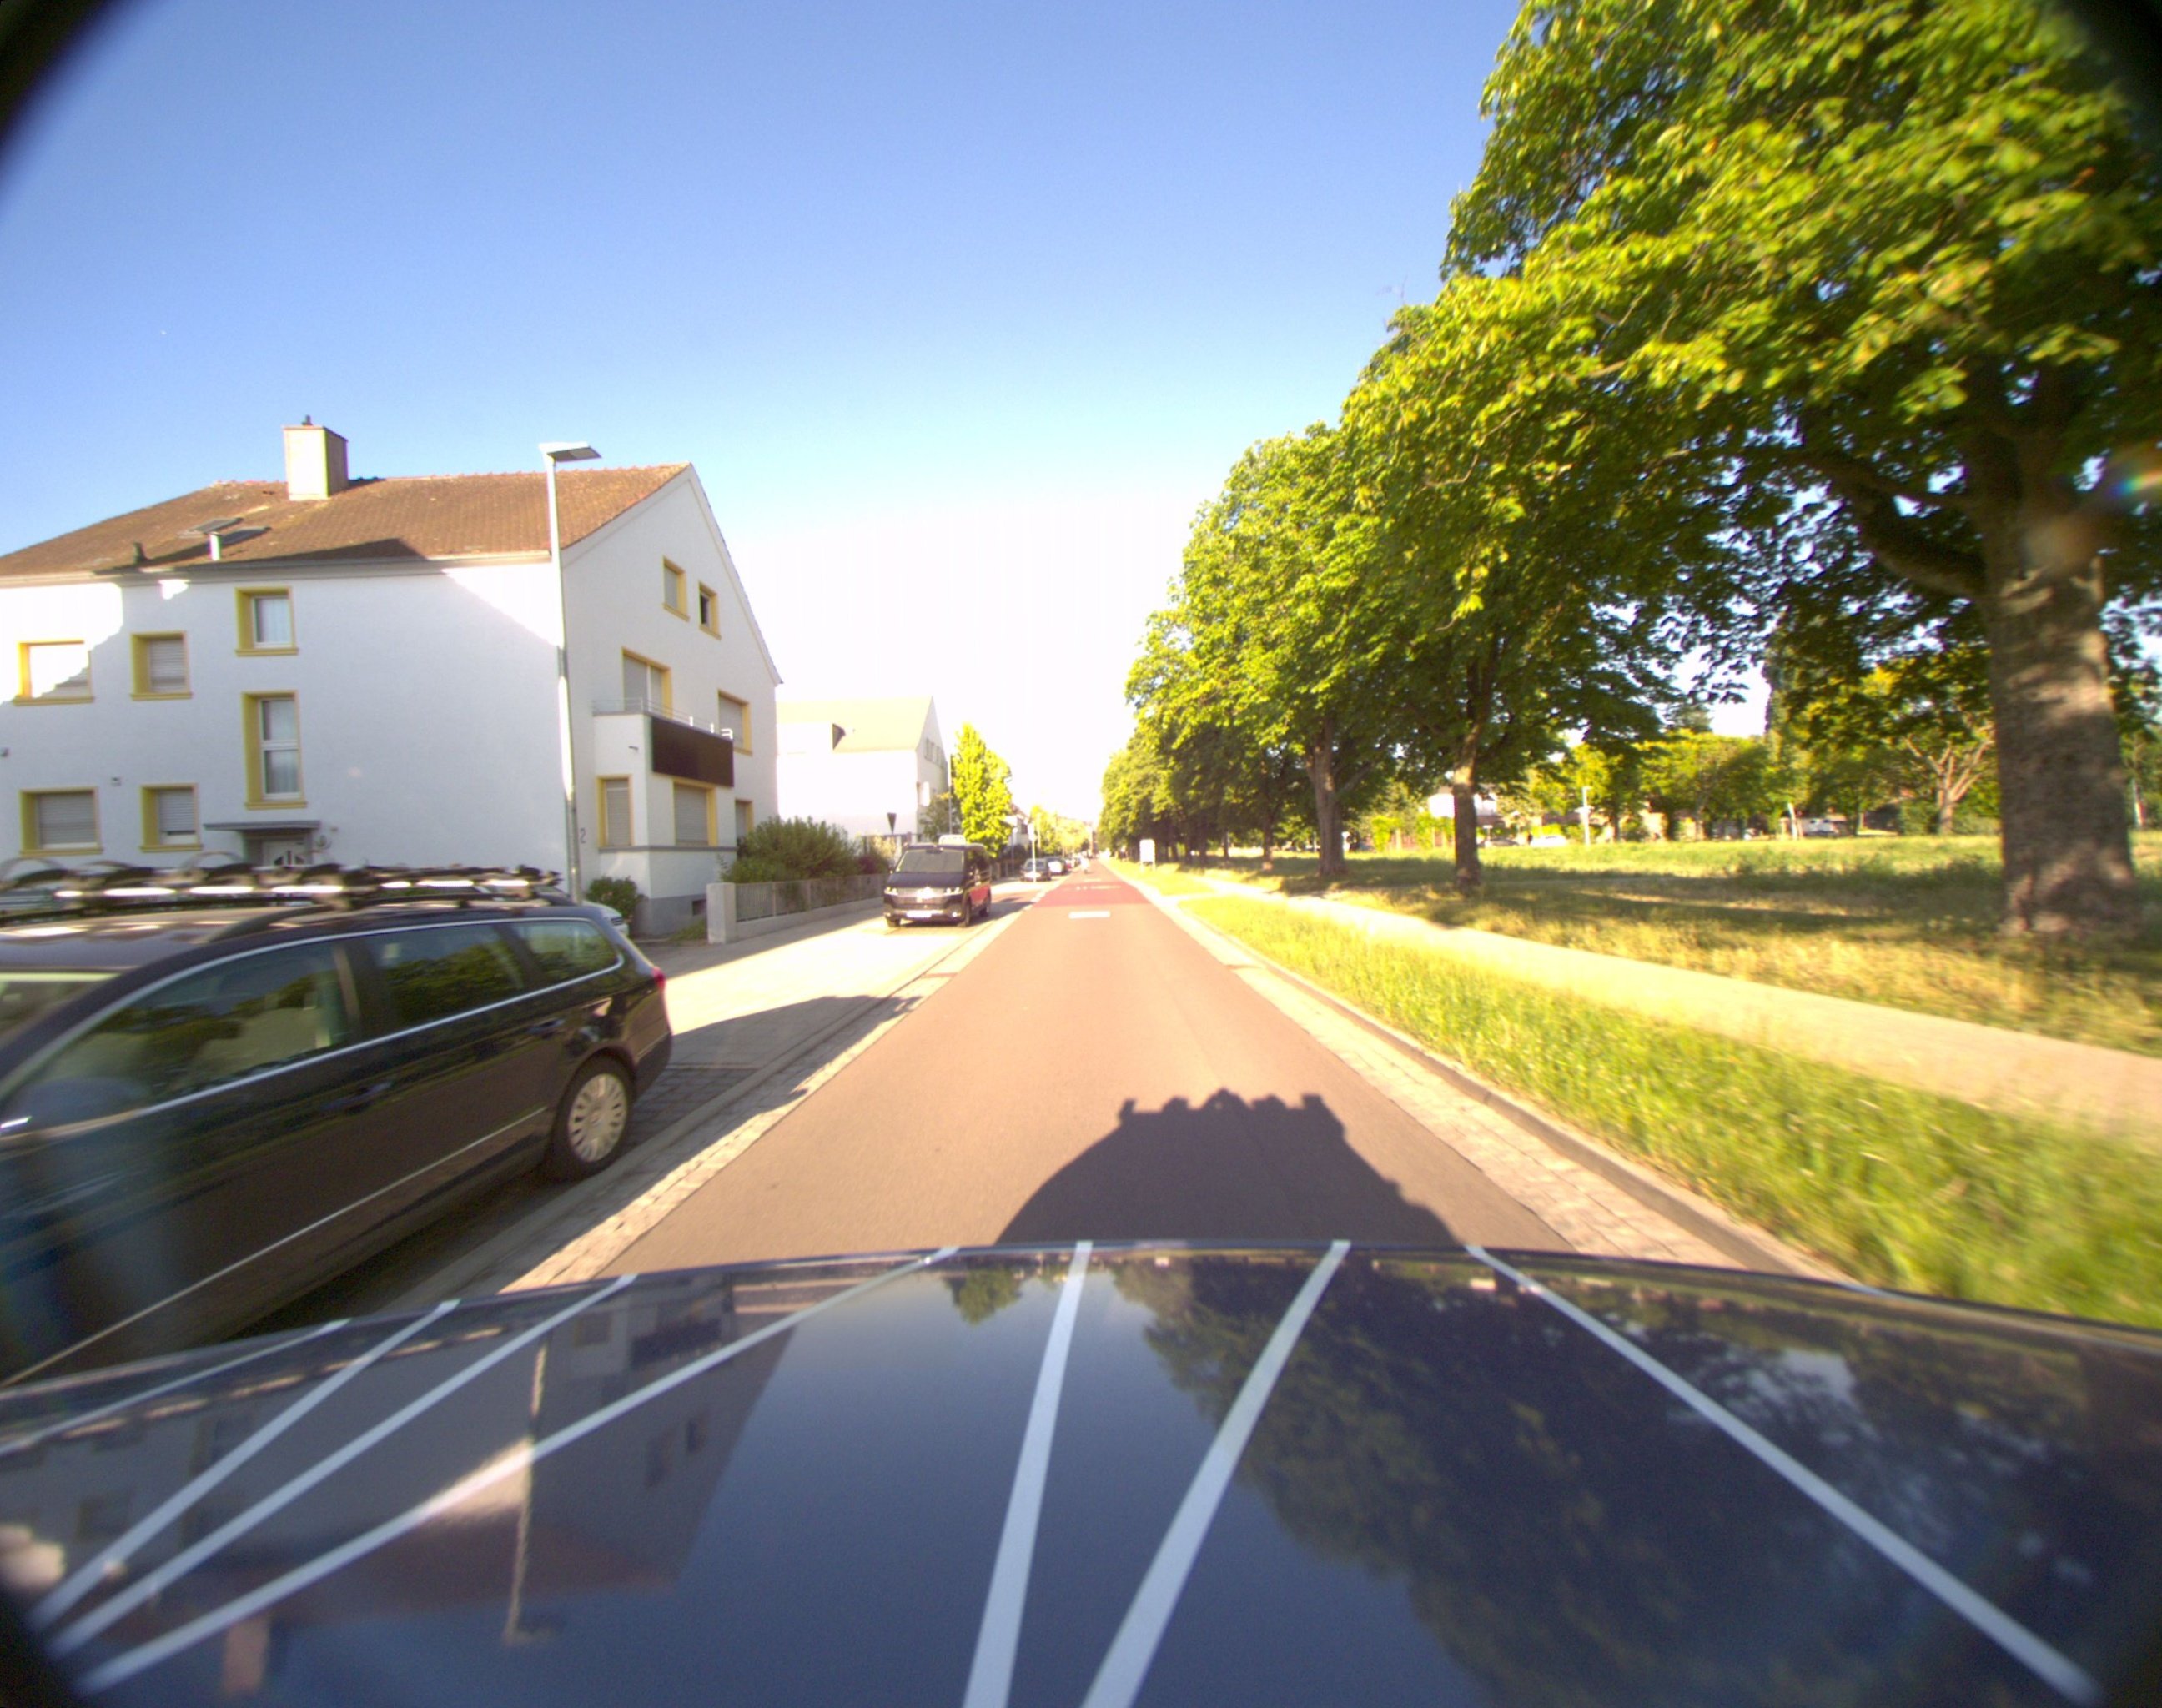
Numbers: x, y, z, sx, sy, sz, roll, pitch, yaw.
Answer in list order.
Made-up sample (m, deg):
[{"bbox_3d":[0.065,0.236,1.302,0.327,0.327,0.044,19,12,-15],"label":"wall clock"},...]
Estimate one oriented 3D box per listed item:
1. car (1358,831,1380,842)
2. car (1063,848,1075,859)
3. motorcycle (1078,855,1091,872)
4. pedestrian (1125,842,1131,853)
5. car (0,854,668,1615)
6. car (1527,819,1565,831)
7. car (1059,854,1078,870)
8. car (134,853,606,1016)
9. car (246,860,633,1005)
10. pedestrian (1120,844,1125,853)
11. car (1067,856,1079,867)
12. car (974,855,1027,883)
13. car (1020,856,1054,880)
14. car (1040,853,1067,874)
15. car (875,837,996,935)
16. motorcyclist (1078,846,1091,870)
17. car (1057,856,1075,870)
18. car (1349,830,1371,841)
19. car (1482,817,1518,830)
[{"bbox_3d":[44.137,-2.694,116.601,1.766,1.619,4.000,-4,1,1],"label":"car"},{"bbox_3d":[-1.659,-0.081,106.446,1.508,1.471,3.492,-2,1,2],"label":"car"},{"bbox_3d":[0.325,0.854,68.285,1.077,1.373,2.463,-4,1,0],"label":"motorcycle"},{"bbox_3d":[8.503,-1.171,136.763,0.625,1.841,0.606,-3,2,40],"label":"pedestrian"},{"bbox_3d":[-3.446,0.917,2.351,1.798,1.761,4.472,-1,1,1],"label":"car"},{"bbox_3d":[58.647,-3.612,95.858,3.636,1.273,1.586,-4,1,2],"label":"car"},{"bbox_3d":[-1.219,0.787,76.775,1.798,1.485,4.193,-1,1,1],"label":"car"},{"bbox_3d":[-8.959,0.948,9.915,4.228,1.716,1.852,-2,1,-2],"label":"car"},{"bbox_3d":[-9.711,1.121,11.814,4.228,1.716,1.852,-4,1,-2],"label":"car"},{"bbox_3d":[7.532,-1.042,137.451,0.625,1.621,0.606,-3,2,27],"label":"pedestrian"},{"bbox_3d":[-1.188,1.108,116.059,1.745,1.471,4.056,-3,1,0],"label":"car"},{"bbox_3d":[-6.295,1.148,59.726,3.994,1.834,1.815,-5,0,-4],"label":"car"},{"bbox_3d":[-2.806,0.865,48.886,1.798,1.474,4.124,-1,0,2],"label":"car"},{"bbox_3d":[-2.304,0.785,64.137,1.910,1.698,4.575,-1,0,3],"label":"car"},{"bbox_3d":[-3.437,0.678,19.008,1.910,2.119,4.814,-1,1,2],"label":"car"},{"bbox_3d":[0.299,0.359,68.397,0.961,2.002,1.273,-4,1,0],"label":"motorcyclist"},{"bbox_3d":[-1.831,1.110,95.687,1.910,1.698,4.575,-1,0,3],"label":"car"},{"bbox_3d":[38.687,-2.570,105.420,1.585,1.473,3.639,-4,1,2],"label":"car"},{"bbox_3d":[52.327,-3.809,94.903,3.636,1.273,1.586,-4,1,2],"label":"car"}]
